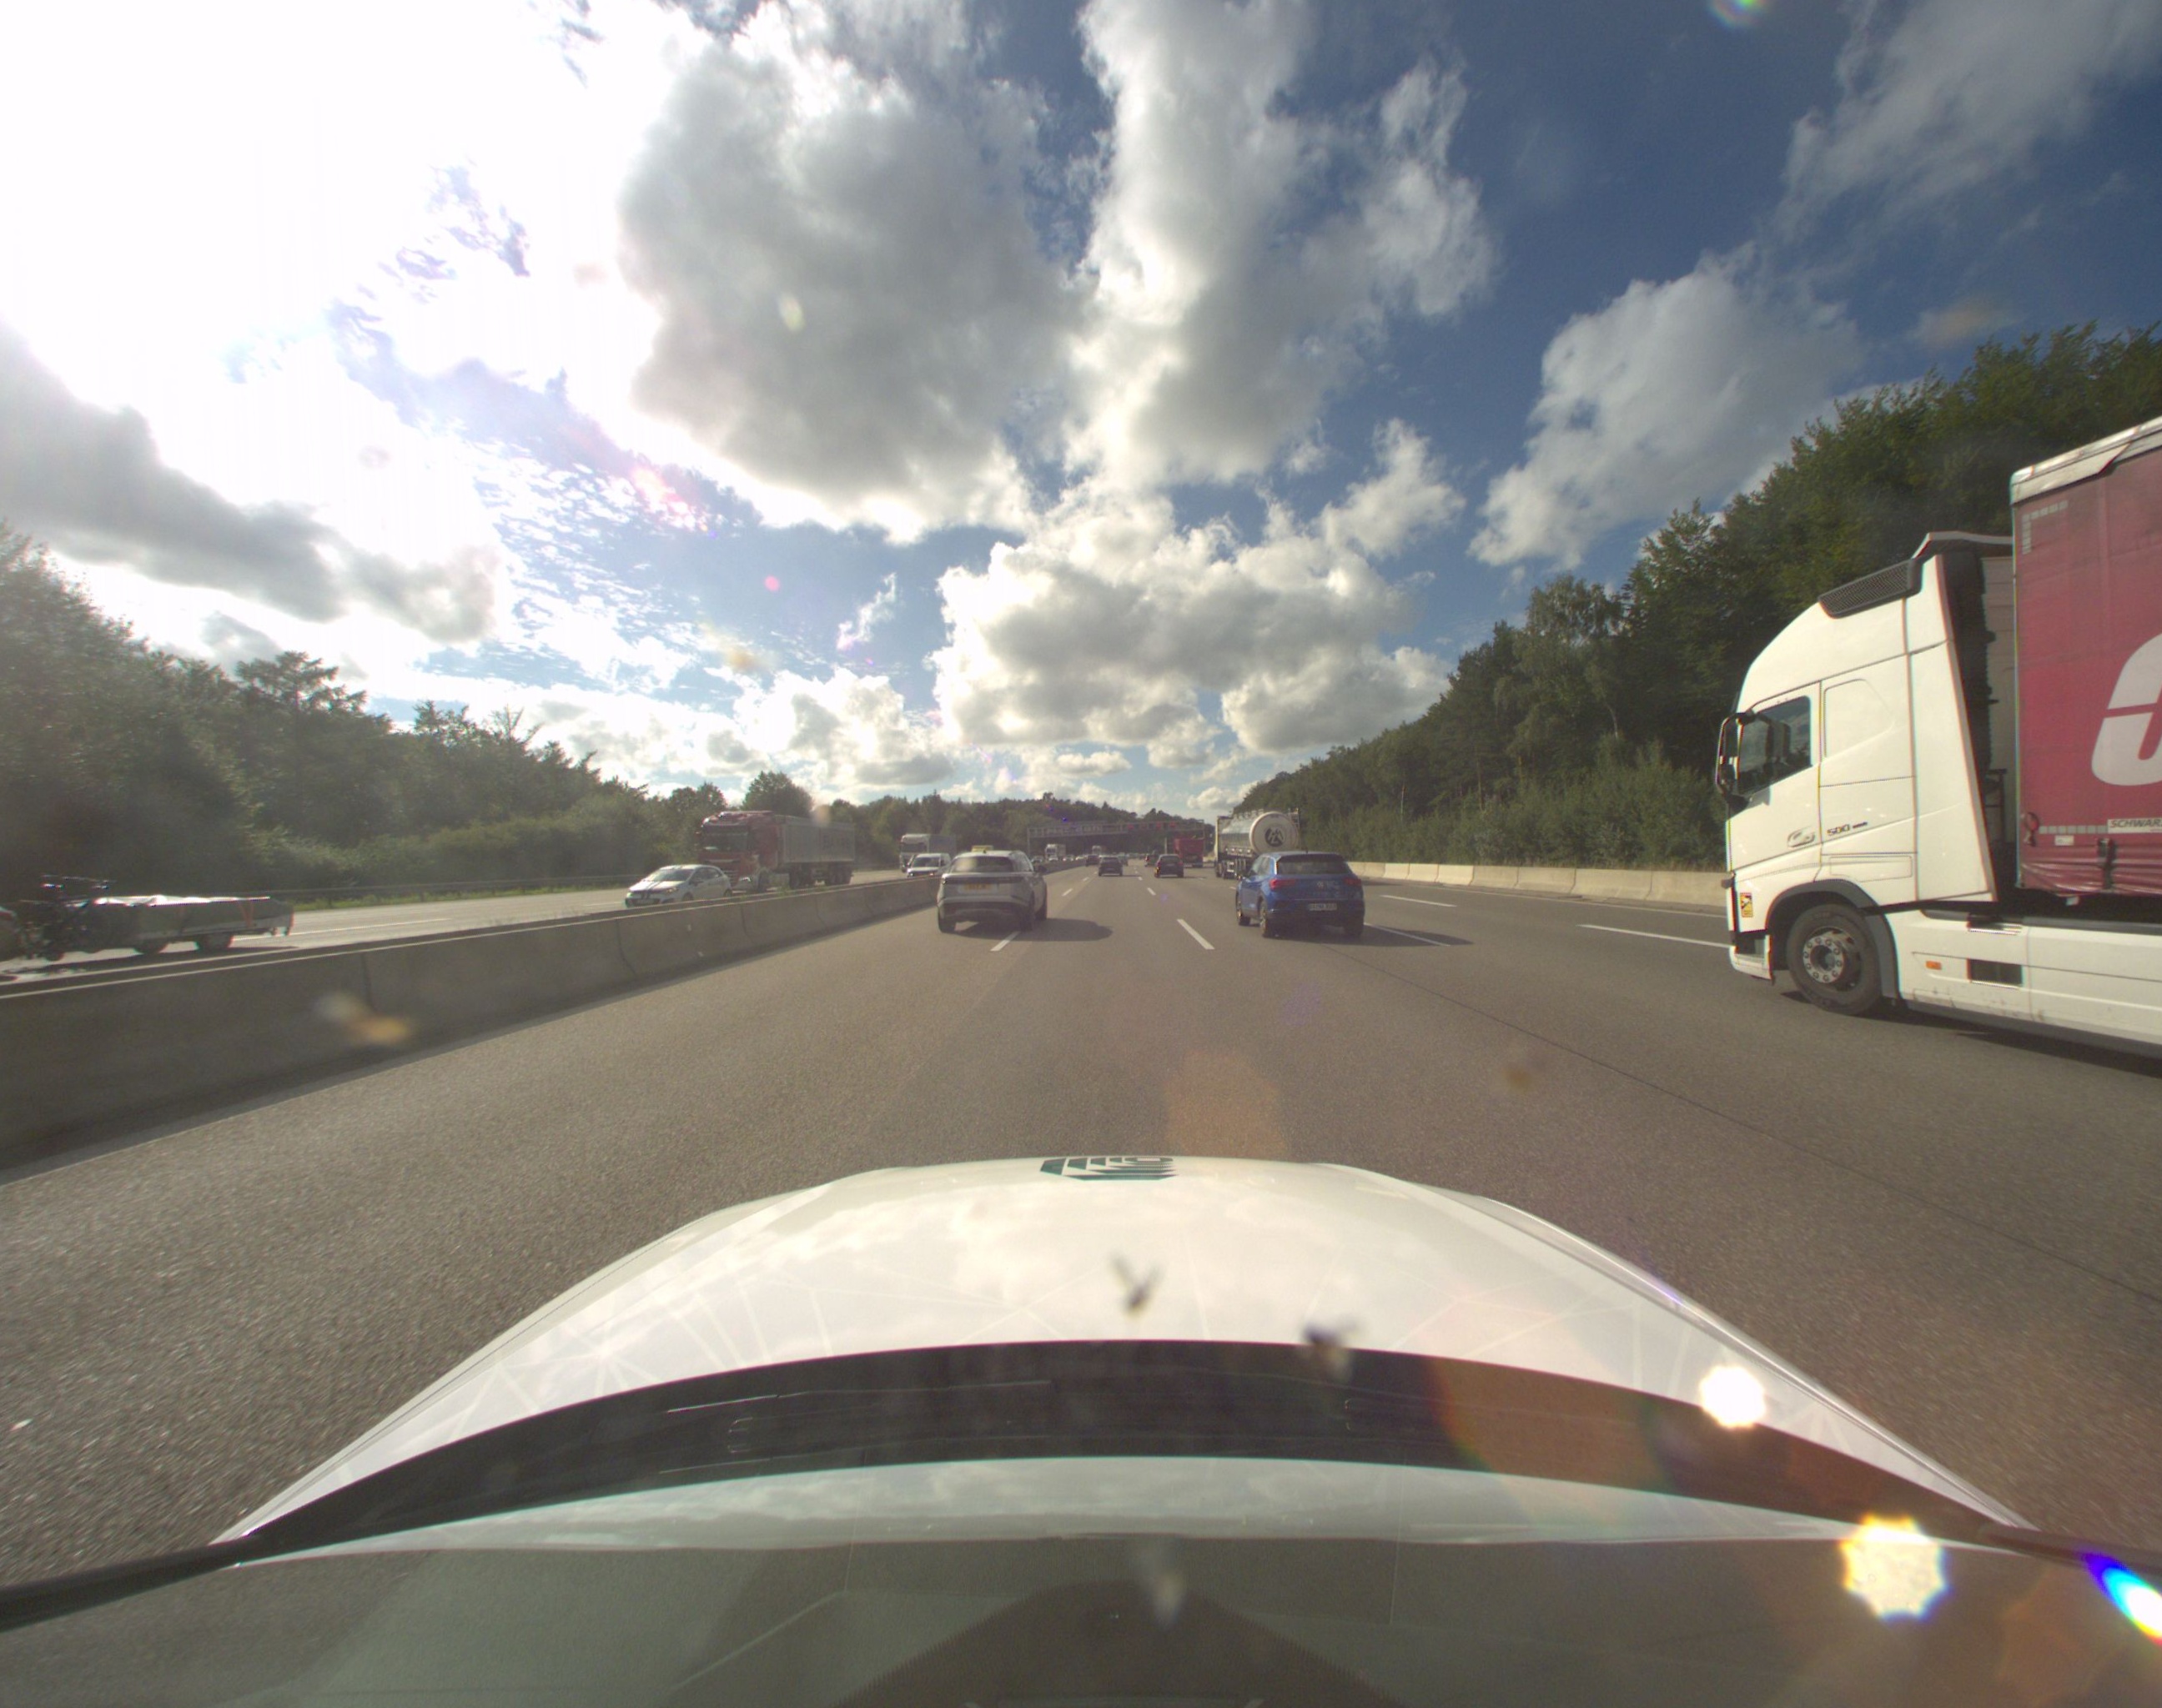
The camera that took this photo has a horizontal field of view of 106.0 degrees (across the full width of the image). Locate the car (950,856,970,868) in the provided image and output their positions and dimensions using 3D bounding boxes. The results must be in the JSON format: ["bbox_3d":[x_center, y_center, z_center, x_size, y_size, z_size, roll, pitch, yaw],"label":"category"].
[{"bbox_3d":[-16.185,1.046,109.069,1.689,1.470,4.026,-1,0,4],"label":"car"}]

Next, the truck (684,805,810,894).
[{"bbox_3d":[-15.829,-0.203,39.227,2.955,3.858,6.770,-1,0,3],"label":"truck"}]

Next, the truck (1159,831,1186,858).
[{"bbox_3d":[14.317,-1.425,127.829,3.107,3.935,10.412,-1,0,1],"label":"truck"}]

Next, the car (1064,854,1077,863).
[{"bbox_3d":[-1.839,0.739,144.540,1.855,1.552,4.665,-1,0,3],"label":"car"}]

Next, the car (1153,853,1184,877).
[{"bbox_3d":[5.676,0.713,53.264,1.815,1.457,4.003,-1,0,3],"label":"car"}]

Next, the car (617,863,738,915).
[{"bbox_3d":[-12.448,1.029,25.424,1.596,1.403,4.003,-1,0,3],"label":"car"}]

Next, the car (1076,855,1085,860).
[{"bbox_3d":[-0.067,0.731,193.366,1.803,1.161,4.520,-1,0,4],"label":"car"}]

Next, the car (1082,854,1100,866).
[{"bbox_3d":[1.330,0.790,106.881,1.933,1.457,4.005,-3,0,4],"label":"car"}]

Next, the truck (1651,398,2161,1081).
[{"bbox_3d":[7.839,-0.698,6.374,2.764,4.045,5.775,-1,0,1],"label":"truck"}]

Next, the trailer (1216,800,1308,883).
[{"bbox_3d":[9.409,-0.585,43.880,2.639,3.767,11.865,-2,0,2],"label":"trailer"}]

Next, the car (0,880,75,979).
[{"bbox_3d":[-16.860,1.143,10.504,1.820,1.414,4.678,-1,0,3],"label":"car"}]

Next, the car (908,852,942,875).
[{"bbox_3d":[-13.737,0.823,71.917,1.840,1.940,5.036,-1,0,2],"label":"car"}]

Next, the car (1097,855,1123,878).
[{"bbox_3d":[2.110,0.906,58.819,1.815,1.546,4.002,-1,0,2],"label":"car"}]

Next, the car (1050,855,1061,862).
[{"bbox_3d":[-5.052,0.890,161.143,1.762,1.394,4.694,-1,0,3],"label":"car"}]

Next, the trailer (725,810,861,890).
[{"bbox_3d":[-15.523,-0.187,45.233,2.955,3.858,11.290,-1,0,3],"label":"trailer"}]

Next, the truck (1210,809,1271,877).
[{"bbox_3d":[9.651,-0.612,49.863,2.639,3.823,6.085,-2,0,2],"label":"truck"}]

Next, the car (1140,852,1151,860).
[{"bbox_3d":[13.807,0.447,175.130,1.936,1.457,3.999,-3,0,0],"label":"car"}]

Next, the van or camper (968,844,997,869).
[{"bbox_3d":[-12.092,0.319,100.371,2.364,2.891,6.512,-2,0,3],"label":"van or camper"}]

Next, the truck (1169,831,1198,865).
[{"bbox_3d":[11.629,-0.720,92.466,2.700,3.718,5.820,-1,0,2],"label":"truck"}]

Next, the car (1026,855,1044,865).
[{"bbox_3d":[-7.106,0.875,126.806,2.161,1.470,4.792,-1,0,4],"label":"car"}]

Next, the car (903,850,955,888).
[{"bbox_3d":[-8.247,0.768,44.615,1.842,1.878,4.616,-2,0,1],"label":"car"}]

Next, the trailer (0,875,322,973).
[{"bbox_3d":[-16.710,1.164,14.931,1.528,1.402,4.182,-1,0,2],"label":"trailer"}]

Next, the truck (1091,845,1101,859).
[{"bbox_3d":[4.816,-0.637,257.972,2.725,4.106,5.774,-1,0,6],"label":"truck"}]

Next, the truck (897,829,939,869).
[{"bbox_3d":[-17.270,-0.530,86.543,2.807,4.094,6.066,-1,0,3],"label":"truck"}]

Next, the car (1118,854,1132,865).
[{"bbox_3d":[5.920,0.785,109.172,1.815,1.457,4.002,-1,-1,3],"label":"car"}]

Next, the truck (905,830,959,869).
[{"bbox_3d":[-16.874,-0.473,93.496,2.807,4.094,13.857,-1,0,3],"label":"truck"}]

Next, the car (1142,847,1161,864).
[{"bbox_3d":[8.348,0.175,96.343,1.887,1.856,4.100,-1,0,1],"label":"car"}]

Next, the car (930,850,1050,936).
[{"bbox_3d":[-1.842,0.746,18.227,1.999,1.616,5.301,-1,0,1],"label":"car"}]

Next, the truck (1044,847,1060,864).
[{"bbox_3d":[-6.974,0.386,197.125,3.303,4.106,6.231,-1,0,4],"label":"truck"}]

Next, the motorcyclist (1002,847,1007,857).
[{"bbox_3d":[-10.752,-0.256,115.136,0.600,1.476,0.532,-1,-1,4],"label":"motorcyclist"}]

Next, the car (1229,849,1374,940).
[{"bbox_3d":[4.118,0.676,15.945,1.766,1.530,4.460,-1,0,2],"label":"car"}]

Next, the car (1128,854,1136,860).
[{"bbox_3d":[14.068,0.734,225.352,2.068,1.457,4.003,-3,0,3],"label":"car"}]

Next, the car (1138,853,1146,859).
[{"bbox_3d":[16.018,0.448,214.426,2.067,1.457,4.005,-3,0,4],"label":"car"}]

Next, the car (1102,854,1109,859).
[{"bbox_3d":[7.233,0.714,243.491,1.802,1.302,4.052,-1,0,5],"label":"car"}]

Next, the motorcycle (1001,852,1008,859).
[{"bbox_3d":[-10.804,0.227,114.510,0.607,1.040,2.178,-1,0,5],"label":"motorcycle"}]

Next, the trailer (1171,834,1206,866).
[{"bbox_3d":[11.457,-0.422,87.538,2.700,3.231,9.737,-1,0,2],"label":"trailer"}]
